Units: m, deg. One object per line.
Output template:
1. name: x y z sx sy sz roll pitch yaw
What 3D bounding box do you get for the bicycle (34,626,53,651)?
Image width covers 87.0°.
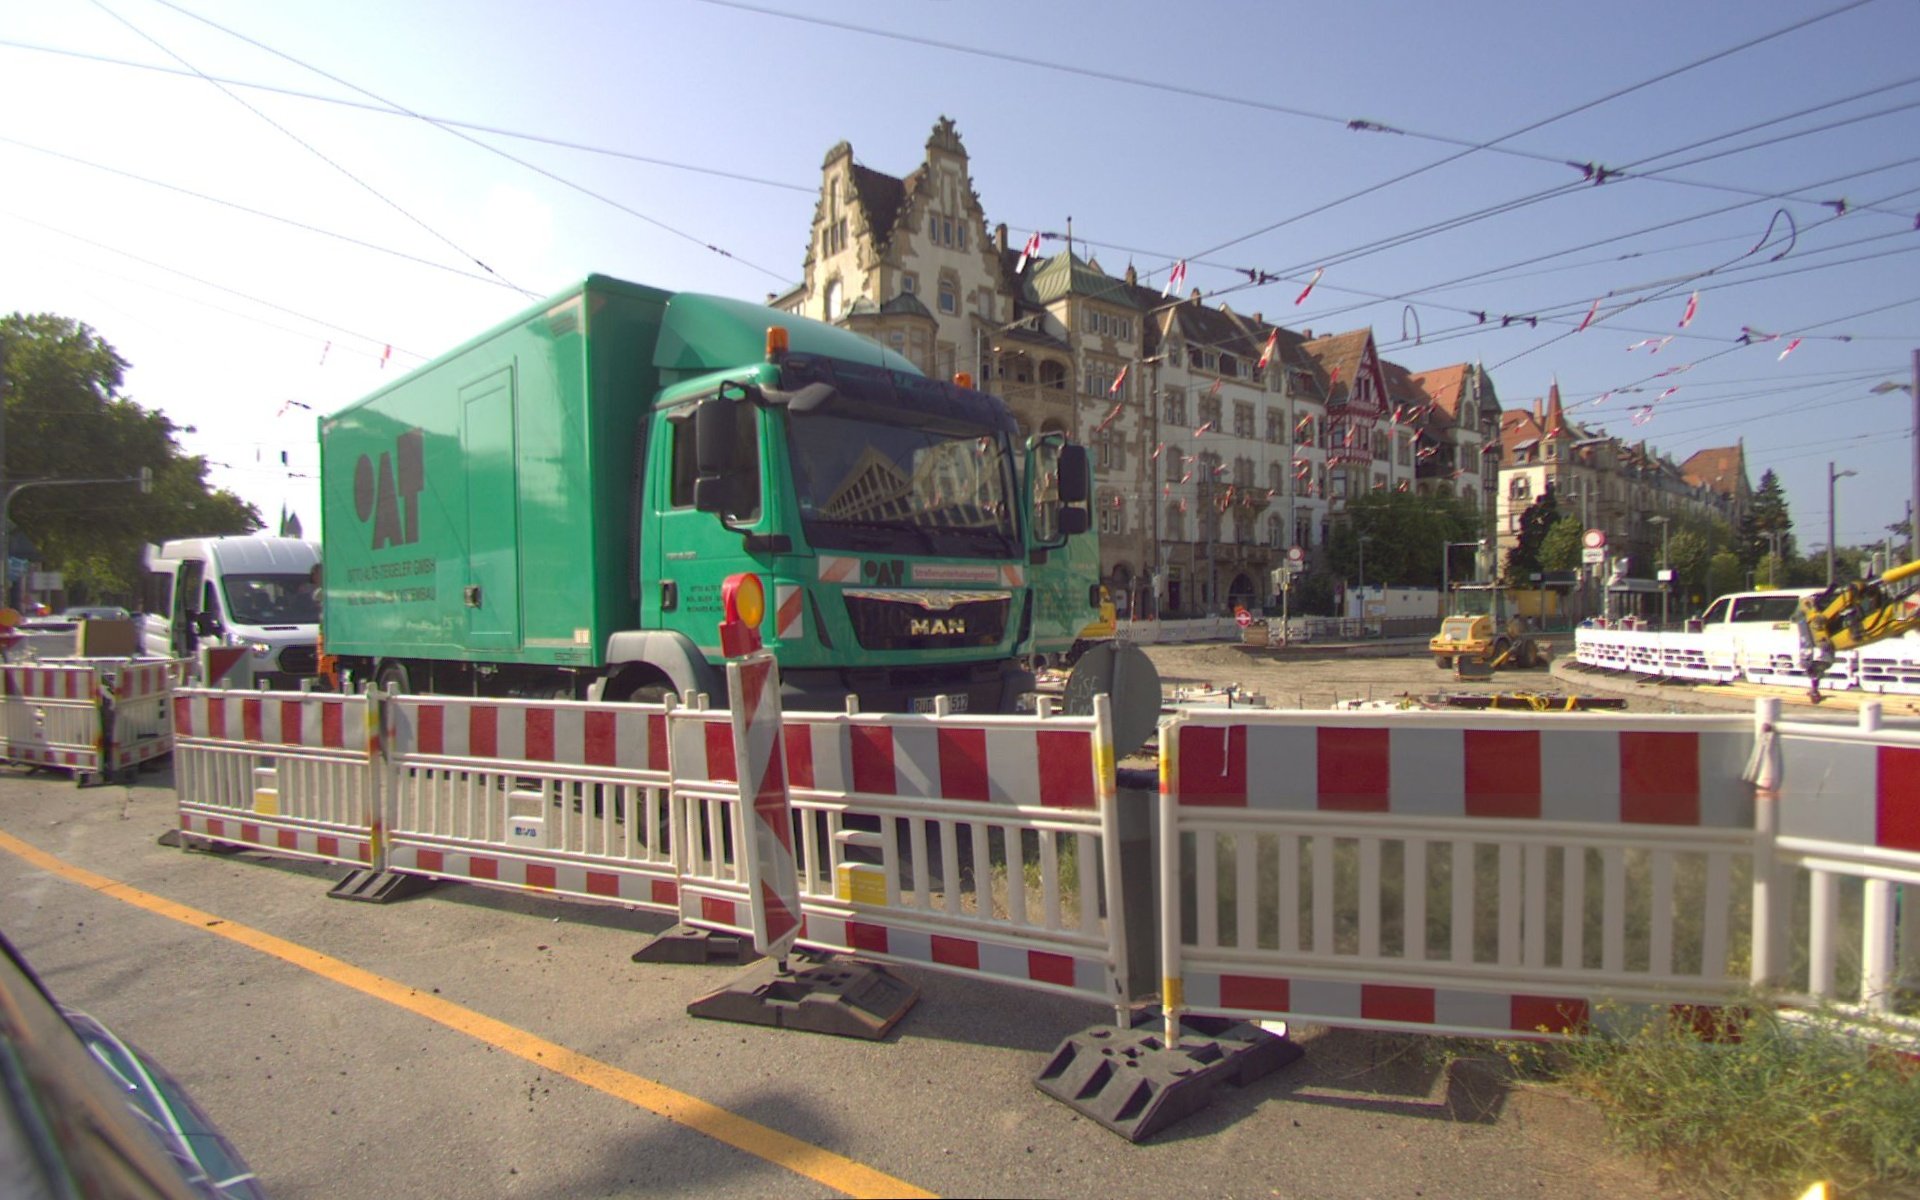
1. bicycle: -37.758 1.591 41.690 0.404 0.994 1.379 1 -1 -35

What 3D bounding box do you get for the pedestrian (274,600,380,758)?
1. pedestrian: -7.039 0.854 11.281 0.697 1.706 0.766 0 -1 -1

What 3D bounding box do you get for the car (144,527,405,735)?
1. car: -10.923 0.442 15.958 5.169 2.750 2.201 -1 -1 42

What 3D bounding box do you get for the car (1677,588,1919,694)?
1. car: 18.204 0.859 22.385 1.797 2.046 5.102 0 -1 10

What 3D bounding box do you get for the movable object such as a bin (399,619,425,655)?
1. movable object such as a bin: -18.891 1.248 34.865 0.739 1.179 2.298 1 -1 -30

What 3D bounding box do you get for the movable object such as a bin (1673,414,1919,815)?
1. movable object such as a bin: 11.778 0.111 8.763 3.456 4.044 9.064 0 -1 -13

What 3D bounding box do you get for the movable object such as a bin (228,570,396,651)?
1. movable object such as a bin: -28.987 0.452 45.515 2.111 3.371 6.093 -1 -1 33

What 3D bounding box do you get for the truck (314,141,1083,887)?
1. truck: -3.013 -0.360 8.849 8.217 3.706 2.644 -1 -2 44

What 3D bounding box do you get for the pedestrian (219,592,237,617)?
1. pedestrian: -62.110 0.383 85.910 0.897 2.029 0.914 -1 1 -11

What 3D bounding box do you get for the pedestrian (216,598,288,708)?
1. pedestrian: -13.322 0.986 19.063 0.725 2.029 0.908 0 -1 -5

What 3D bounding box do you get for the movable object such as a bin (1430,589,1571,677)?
1. movable object such as a bin: 18.499 1.075 34.538 5.539 2.760 2.140 1 -1 -38

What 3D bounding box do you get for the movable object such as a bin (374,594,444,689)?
1. movable object such as a bin: -6.829 0.488 12.509 0.634 1.100 1.485 1 -1 -33

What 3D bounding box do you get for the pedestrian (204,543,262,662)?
1. pedestrian: -12.721 0.055 17.740 0.724 2.029 0.910 1 -1 -32
